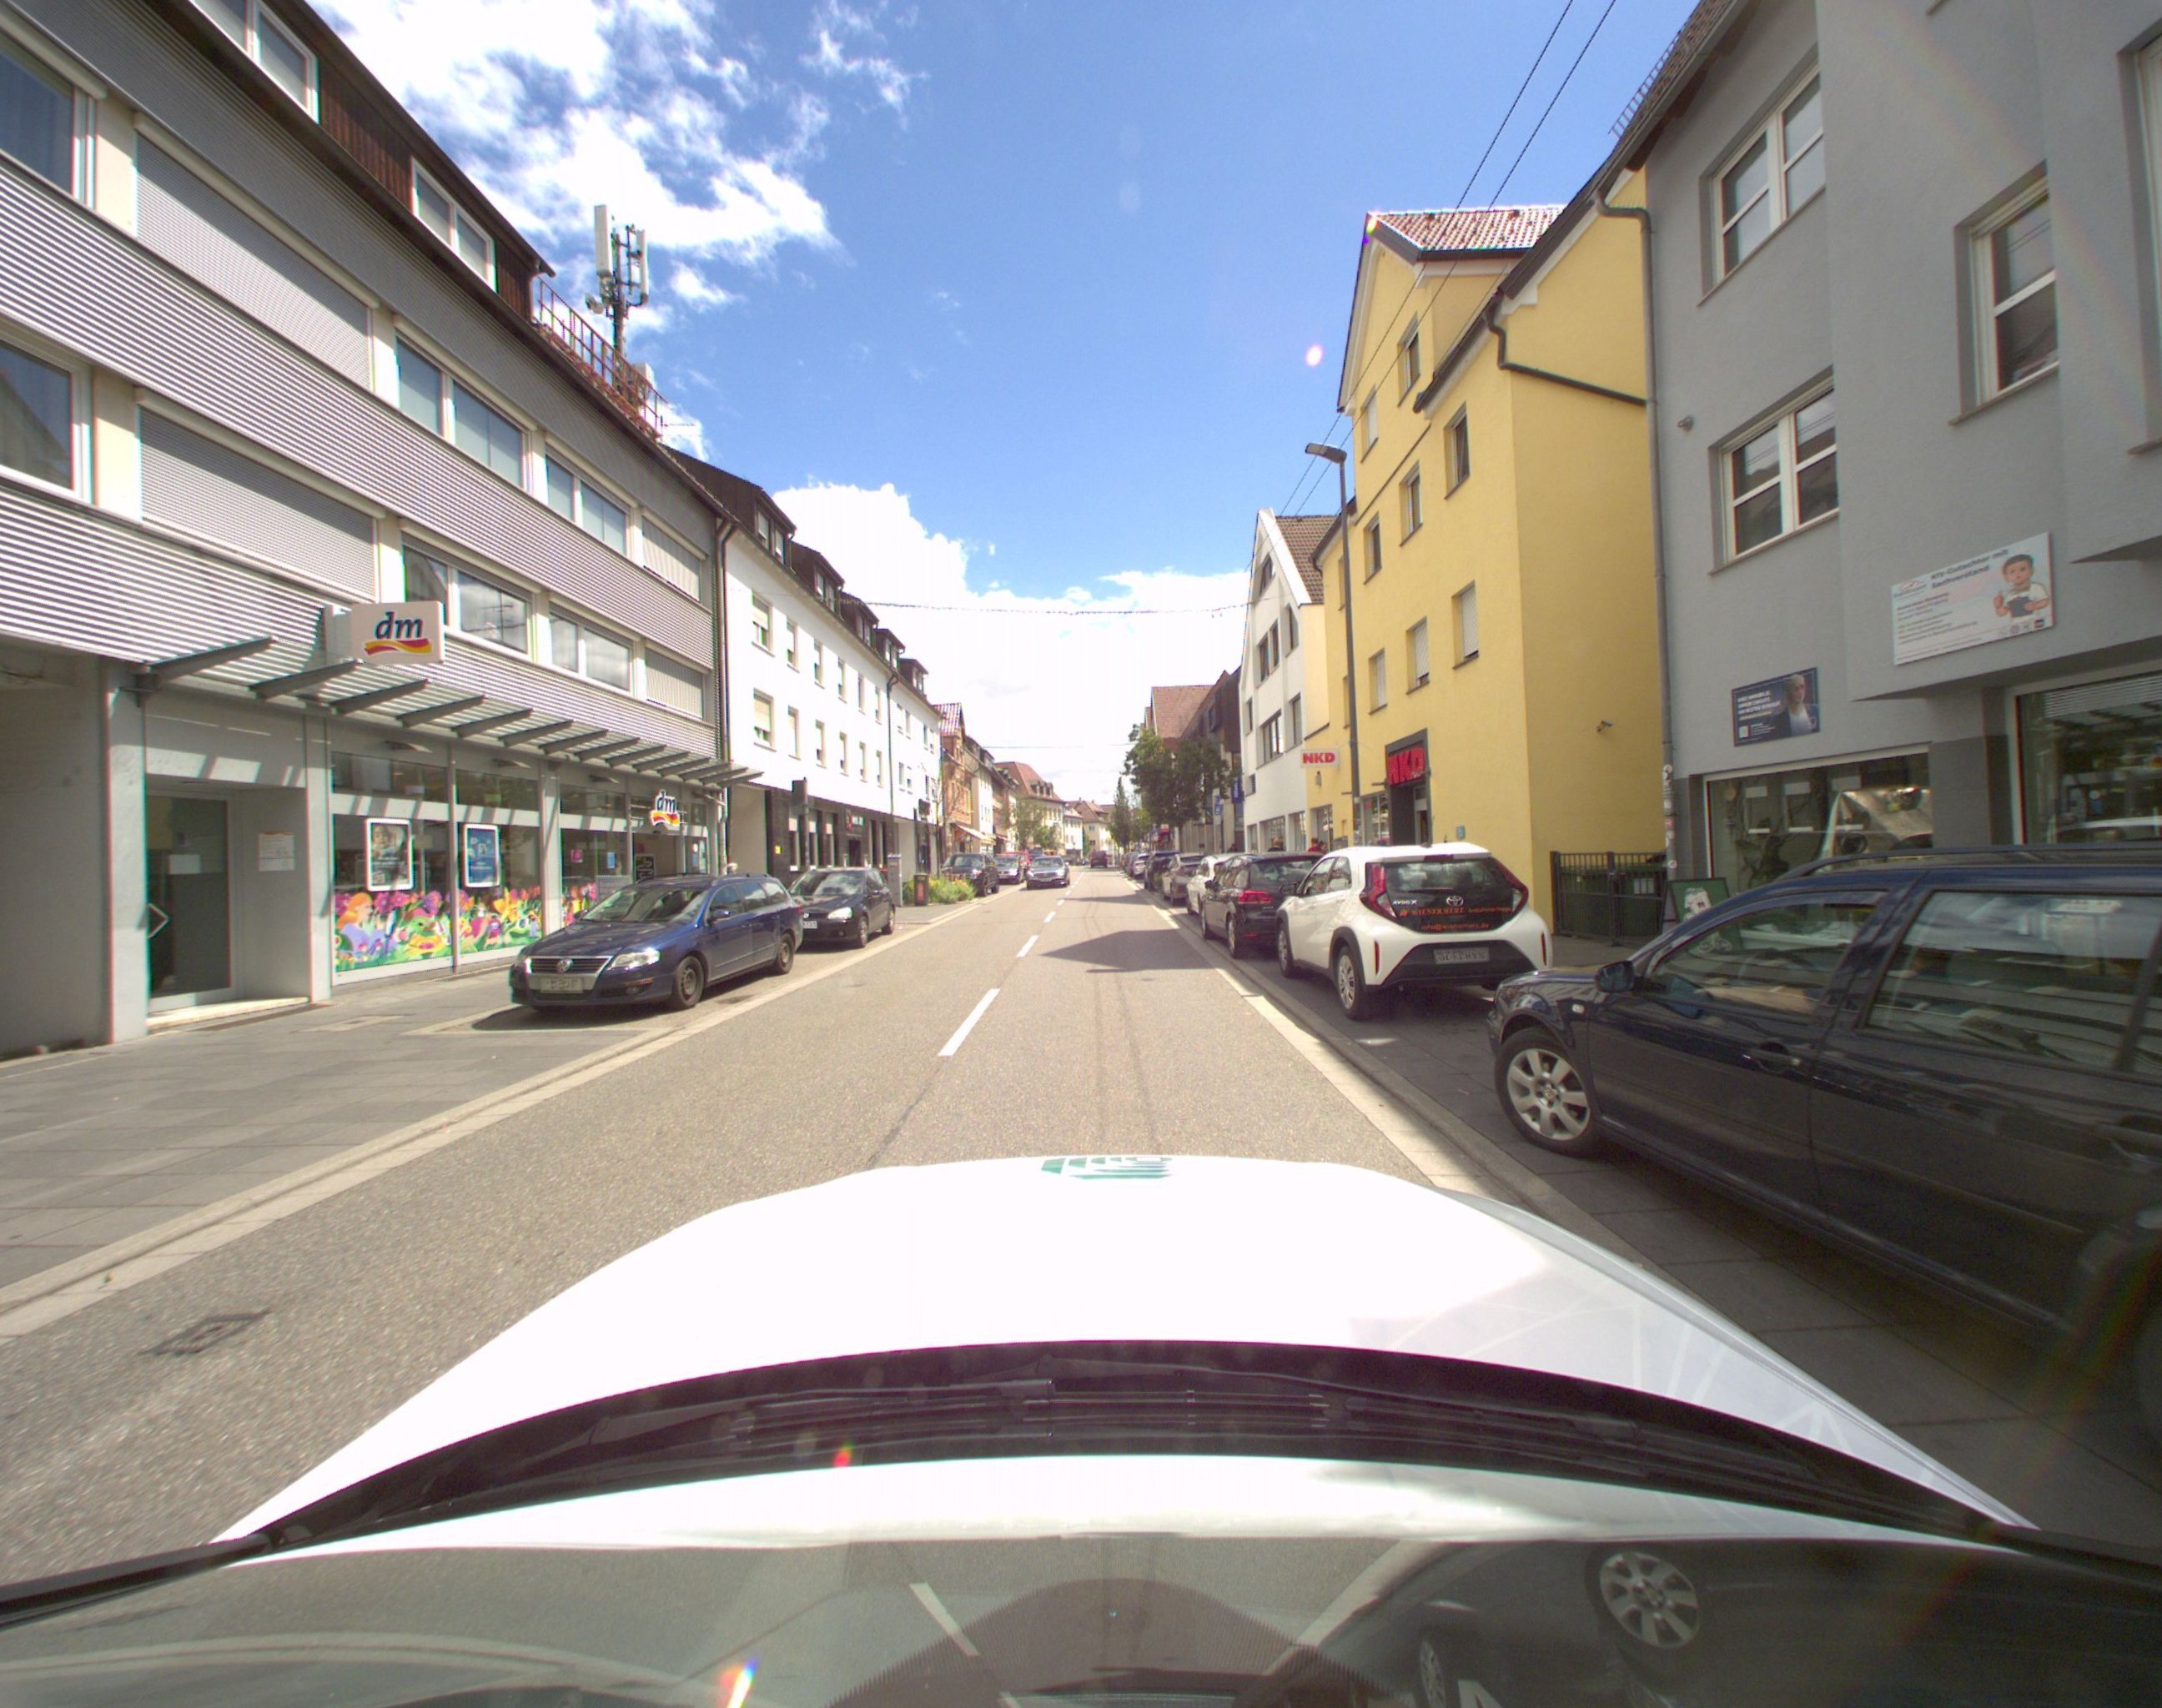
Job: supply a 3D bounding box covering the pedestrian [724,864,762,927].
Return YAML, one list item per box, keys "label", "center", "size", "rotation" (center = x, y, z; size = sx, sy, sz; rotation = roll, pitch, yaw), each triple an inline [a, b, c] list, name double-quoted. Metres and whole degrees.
- label: "pedestrian"
  center: [-7.892, 0.954, 19.033]
  size: [0.652, 1.455, 0.563]
  rotation: [0, -1, 1]

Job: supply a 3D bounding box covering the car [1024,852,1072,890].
- label: "car"
  center: [-1.506, 0.770, 39.078]
  size: [1.898, 1.563, 4.647]
  rotation: [-4, 0, 1]

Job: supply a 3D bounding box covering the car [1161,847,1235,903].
- label: "car"
  center: [3.334, 0.592, 23.838]
  size: [1.714, 1.476, 4.356]
  rotation: [0, -1, 2]

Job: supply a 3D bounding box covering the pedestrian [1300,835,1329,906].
- label: "pedestrian"
  center: [6.115, 0.435, 21.374]
  size: [0.585, 1.841, 0.576]
  rotation: [0, -1, 1]

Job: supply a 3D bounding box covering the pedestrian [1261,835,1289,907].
- label: "pedestrian"
  center: [5.075, 0.442, 21.322]
  size: [0.585, 1.841, 0.576]
  rotation: [0, -1, 1]

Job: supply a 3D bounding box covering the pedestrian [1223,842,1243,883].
- label: "pedestrian"
  center: [6.533, 0.380, 35.046]
  size: [0.738, 1.737, 0.757]
  rotation: [0, -1, 1]

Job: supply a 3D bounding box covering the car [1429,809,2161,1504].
- label: "car"
  center: [3.059, 0.621, 2.787]
  size: [1.685, 1.440, 4.292]
  rotation: [-4, -1, -2]

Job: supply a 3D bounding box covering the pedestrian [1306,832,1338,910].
- label: "pedestrian"
  center: [5.787, 0.412, 19.542]
  size: [0.585, 1.841, 0.576]
  rotation: [0, -1, 1]

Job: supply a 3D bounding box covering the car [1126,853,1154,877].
- label: "car"
  center: [3.816, 0.693, 52.919]
  size: [1.714, 1.494, 4.111]
  rotation: [0, -1, 2]

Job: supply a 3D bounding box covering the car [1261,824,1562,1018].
- label: "car"
  center: [3.121, 0.572, 8.546]
  size: [1.683, 1.574, 3.756]
  rotation: [0, -1, 1]

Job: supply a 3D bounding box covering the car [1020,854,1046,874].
- label: "car"
  center: [-3.903, 0.789, 66.832]
  size: [1.793, 1.598, 4.390]
  rotation: [-1, 0, 1]

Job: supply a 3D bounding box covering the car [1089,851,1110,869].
- label: "car"
  center: [1.980, 0.679, 90.897]
  size: [2.036, 1.848, 4.994]
  rotation: [0, -1, -2]

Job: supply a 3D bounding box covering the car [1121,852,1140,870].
- label: "car"
  center: [4.581, 0.620, 75.978]
  size: [1.603, 1.495, 3.797]
  rotation: [-5, 0, 2]

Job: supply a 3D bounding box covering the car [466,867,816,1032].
- label: "car"
  center: [-5.168, 0.992, 10.497]
  size: [1.783, 1.513, 4.714]
  rotation: [-2, 0, 2]

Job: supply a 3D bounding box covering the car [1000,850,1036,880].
- label: "car"
  center: [-4.137, 0.723, 54.221]
  size: [1.809, 1.889, 4.843]
  rotation: [0, -1, 2]

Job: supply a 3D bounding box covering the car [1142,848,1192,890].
- label: "car"
  center: [3.407, 0.595, 32.879]
  size: [1.715, 1.577, 4.110]
  rotation: [0, -1, 1]

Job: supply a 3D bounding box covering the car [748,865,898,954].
- label: "car"
  center: [-4.922, 0.985, 16.182]
  size: [1.786, 1.503, 4.174]
  rotation: [0, 0, -2]

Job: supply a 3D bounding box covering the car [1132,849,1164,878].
- label: "car"
  center: [3.866, 0.561, 47.531]
  size: [1.714, 1.577, 4.431]
  rotation: [0, -1, 2]

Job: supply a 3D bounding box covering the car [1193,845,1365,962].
- label: "car"
  center: [2.906, 0.627, 12.930]
  size: [1.683, 1.472, 4.524]
  rotation: [0, 1, 0]

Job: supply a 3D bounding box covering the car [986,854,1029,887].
- label: "car"
  center: [-4.127, 0.934, 46.272]
  size: [1.809, 1.755, 4.466]
  rotation: [0, -1, 3]

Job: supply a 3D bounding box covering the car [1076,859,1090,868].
- label: "car"
  center: [0.338, 1.609, 135.124]
  size: [1.613, 1.486, 3.818]
  rotation: [-1, -1, 13]

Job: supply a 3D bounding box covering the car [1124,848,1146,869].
- label: "car"
  center: [4.221, 0.334, 64.047]
  size: [1.603, 1.532, 3.797]
  rotation: [-3, 0, 2]

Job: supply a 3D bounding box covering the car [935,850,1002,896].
- label: "car"
  center: [-4.519, 0.754, 33.343]
  size: [1.808, 1.755, 4.673]
  rotation: [0, -1, 4]

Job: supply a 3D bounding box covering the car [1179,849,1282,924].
- label: "car"
  center: [3.231, 0.671, 18.427]
  size: [1.624, 1.476, 4.960]
  rotation: [0, -1, 2]

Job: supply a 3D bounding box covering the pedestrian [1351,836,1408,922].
- label: "pedestrian"
  center: [5.575, 0.463, 15.245]
  size: [0.747, 1.553, 0.726]
  rotation: [-2, -1, 0]
